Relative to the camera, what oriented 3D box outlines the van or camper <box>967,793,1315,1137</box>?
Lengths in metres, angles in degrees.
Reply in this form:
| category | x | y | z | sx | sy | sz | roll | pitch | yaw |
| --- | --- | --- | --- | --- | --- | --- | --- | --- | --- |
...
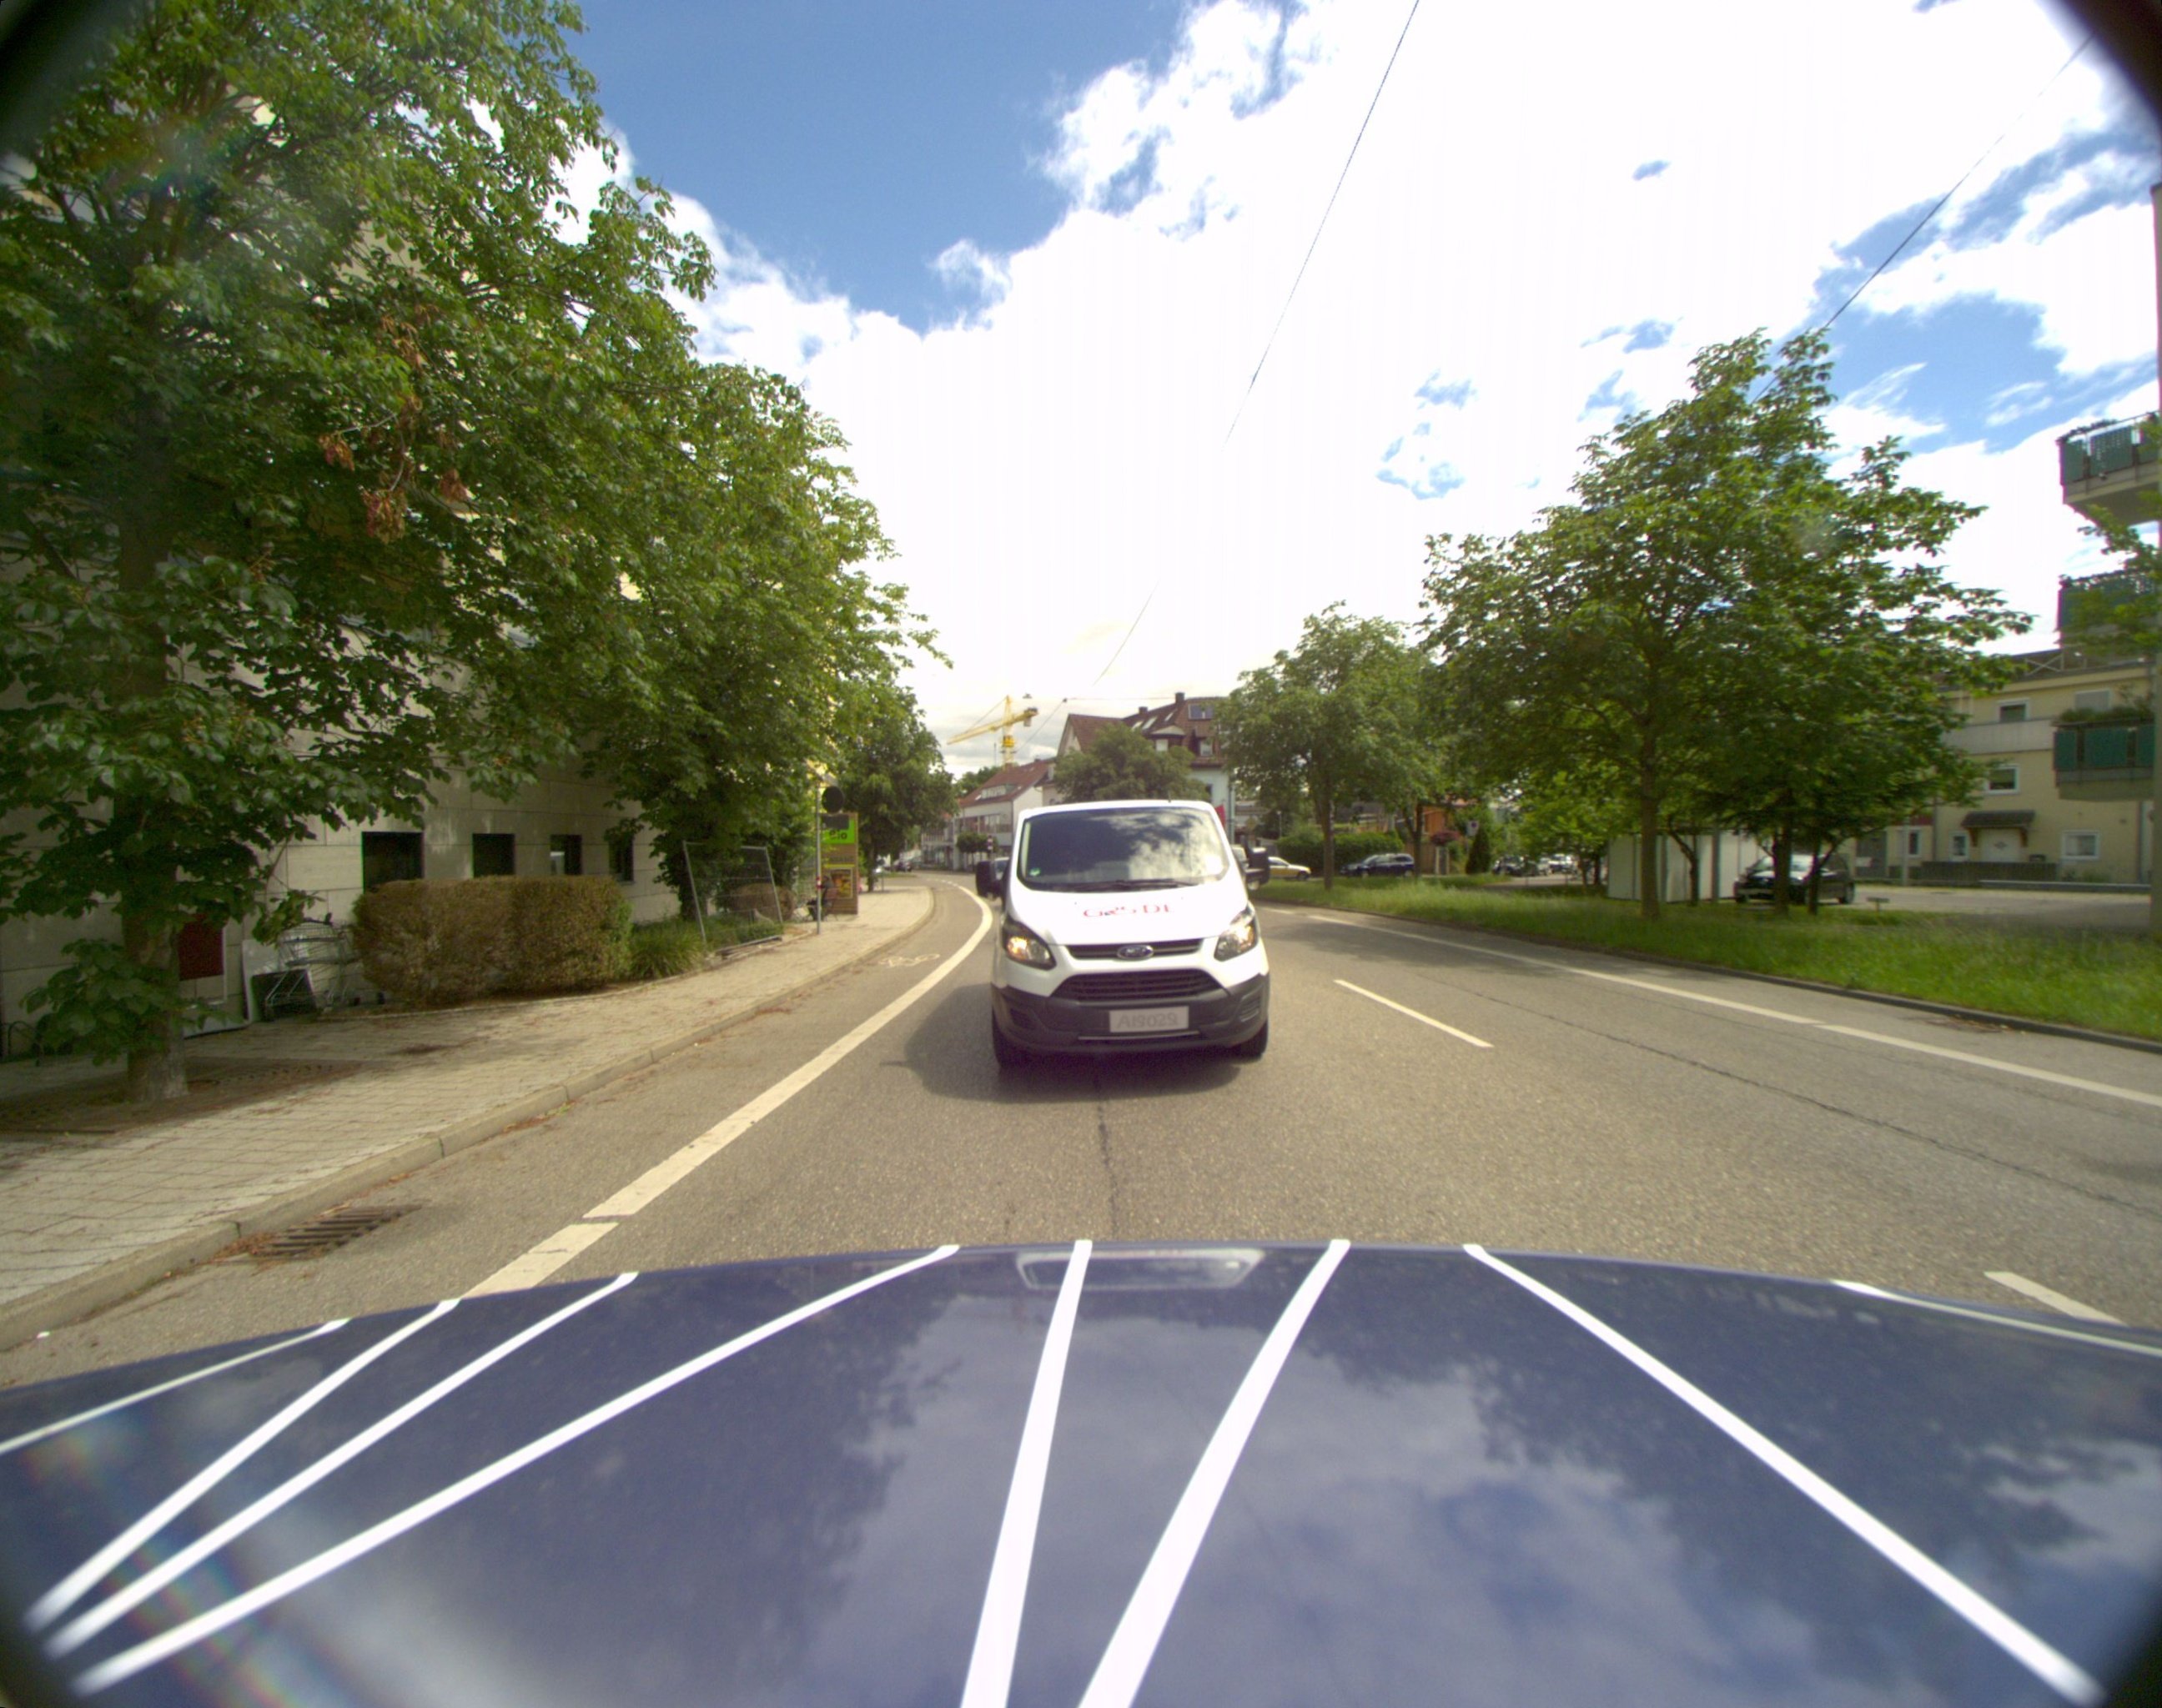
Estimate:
| category | x | y | z | sx | sy | sz | roll | pitch | yaw |
| --- | --- | --- | --- | --- | --- | --- | --- | --- | --- |
| van or camper | 0.340 | 0.640 | 7.004 | 2.027 | 2.002 | 5.102 | -1 | 0 | 0 |

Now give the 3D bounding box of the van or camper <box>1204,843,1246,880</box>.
| category | x | y | z | sx | sy | sz | roll | pitch | yaw |
| --- | --- | --- | --- | --- | --- | --- | --- | --- | --- |
| van or camper | 8.650 | 0.412 | 45.911 | 1.794 | 2.077 | 3.811 | -3 | 1 | 2 |

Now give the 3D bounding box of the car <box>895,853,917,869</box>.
| category | x | y | z | sx | sy | sz | roll | pitch | yaw |
| --- | --- | --- | --- | --- | --- | --- | --- | --- | --- |
| car | -20.958 | 0.797 | 90.921 | 1.744 | 1.840 | 3.991 | -1 | 0 | -26 |

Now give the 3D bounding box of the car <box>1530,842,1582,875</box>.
| category | x | y | z | sx | sy | sz | roll | pitch | yaw |
| --- | --- | --- | --- | --- | --- | --- | --- | --- | --- |
| car | 32.990 | 0.300 | 52.740 | 4.007 | 2.002 | 1.994 | -4 | 2 | -42 |

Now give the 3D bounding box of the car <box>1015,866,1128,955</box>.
| category | x | y | z | sx | sy | sz | roll | pitch | yaw |
| --- | --- | --- | --- | --- | --- | --- | --- | --- | --- |
| car | -0.318 | 0.982 | 14.768 | 1.841 | 1.382 | 3.998 | -1 | 0 | -6 |

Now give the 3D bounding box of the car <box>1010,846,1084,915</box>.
| category | x | y | z | sx | sy | sz | roll | pitch | yaw |
| --- | --- | --- | --- | --- | --- | --- | --- | --- | --- |
| car | -1.129 | 0.720 | 23.171 | 1.853 | 1.805 | 3.997 | -3 | 1 | -7 |

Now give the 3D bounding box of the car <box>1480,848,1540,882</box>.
| category | x | y | z | sx | sy | sz | roll | pitch | yaw |
| --- | --- | --- | --- | --- | --- | --- | --- | --- | --- |
| car | 26.666 | 0.632 | 47.195 | 4.008 | 2.002 | 1.976 | -1 | 0 | -41 |

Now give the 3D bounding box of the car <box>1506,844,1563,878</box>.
| category | x | y | z | sx | sy | sz | roll | pitch | yaw |
| --- | --- | --- | --- | --- | --- | --- | --- | --- | --- |
| car | 29.808 | 0.438 | 49.890 | 4.007 | 2.002 | 1.995 | -4 | 2 | -40 |

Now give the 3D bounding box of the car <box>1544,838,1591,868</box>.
| category | x | y | z | sx | sy | sz | roll | pitch | yaw |
| --- | --- | --- | --- | --- | --- | --- | --- | --- | --- |
| car | 36.045 | -0.075 | 56.266 | 4.007 | 2.002 | 1.893 | -4 | 2 | -43 |

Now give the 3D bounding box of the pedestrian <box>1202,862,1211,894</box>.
| category | x | y | z | sx | sy | sz | roll | pitch | yaw |
| --- | --- | --- | --- | --- | --- | --- | --- | --- | --- |
| pedestrian | 7.927 | 1.513 | 48.118 | 0.425 | 2.002 | 0.363 | -3 | 2 | 1 |

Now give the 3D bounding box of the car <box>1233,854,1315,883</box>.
| category | x | y | z | sx | sy | sz | roll | pitch | yaw |
| --- | --- | --- | --- | --- | --- | --- | --- | --- | --- |
| car | 10.607 | 0.773 | 41.771 | 4.046 | 1.314 | 1.534 | -3 | 1 | -13 |

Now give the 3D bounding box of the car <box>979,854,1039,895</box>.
| category | x | y | z | sx | sy | sz | roll | pitch | yaw |
| --- | --- | --- | --- | --- | --- | --- | --- | --- | --- |
| car | -3.028 | 0.788 | 31.278 | 1.695 | 1.477 | 3.994 | -3 | 1 | -16 |

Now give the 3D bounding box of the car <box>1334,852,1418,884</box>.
| category | x | y | z | sx | sy | sz | roll | pitch | yaw |
| --- | --- | --- | --- | --- | --- | --- | --- | --- | --- |
| car | 16.248 | 0.750 | 41.949 | 3.976 | 1.672 | 1.717 | -1 | 1 | -4 |

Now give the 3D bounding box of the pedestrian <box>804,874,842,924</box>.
| category | x | y | z | sx | sy | sz | roll | pitch | yaw |
| --- | --- | --- | --- | --- | --- | --- | --- | --- | --- |
| pedestrian | -6.945 | 1.198 | 20.491 | 0.731 | 1.293 | 0.754 | 0 | 1 | 0 |

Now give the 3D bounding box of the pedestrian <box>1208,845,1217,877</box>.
| category | x | y | z | sx | sy | sz | roll | pitch | yaw |
| --- | --- | --- | --- | --- | --- | --- | --- | --- | --- |
| pedestrian | 8.318 | 0.435 | 48.085 | 0.383 | 1.979 | 0.443 | -3 | 2 | 0 |

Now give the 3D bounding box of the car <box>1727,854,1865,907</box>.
| category | x | y | z | sx | sy | sz | roll | pitch | yaw |
| --- | --- | --- | --- | --- | --- | --- | --- | --- | --- |
| car | 20.750 | 0.762 | 22.036 | 4.007 | 1.411 | 1.789 | 1 | -1 | -29 |
